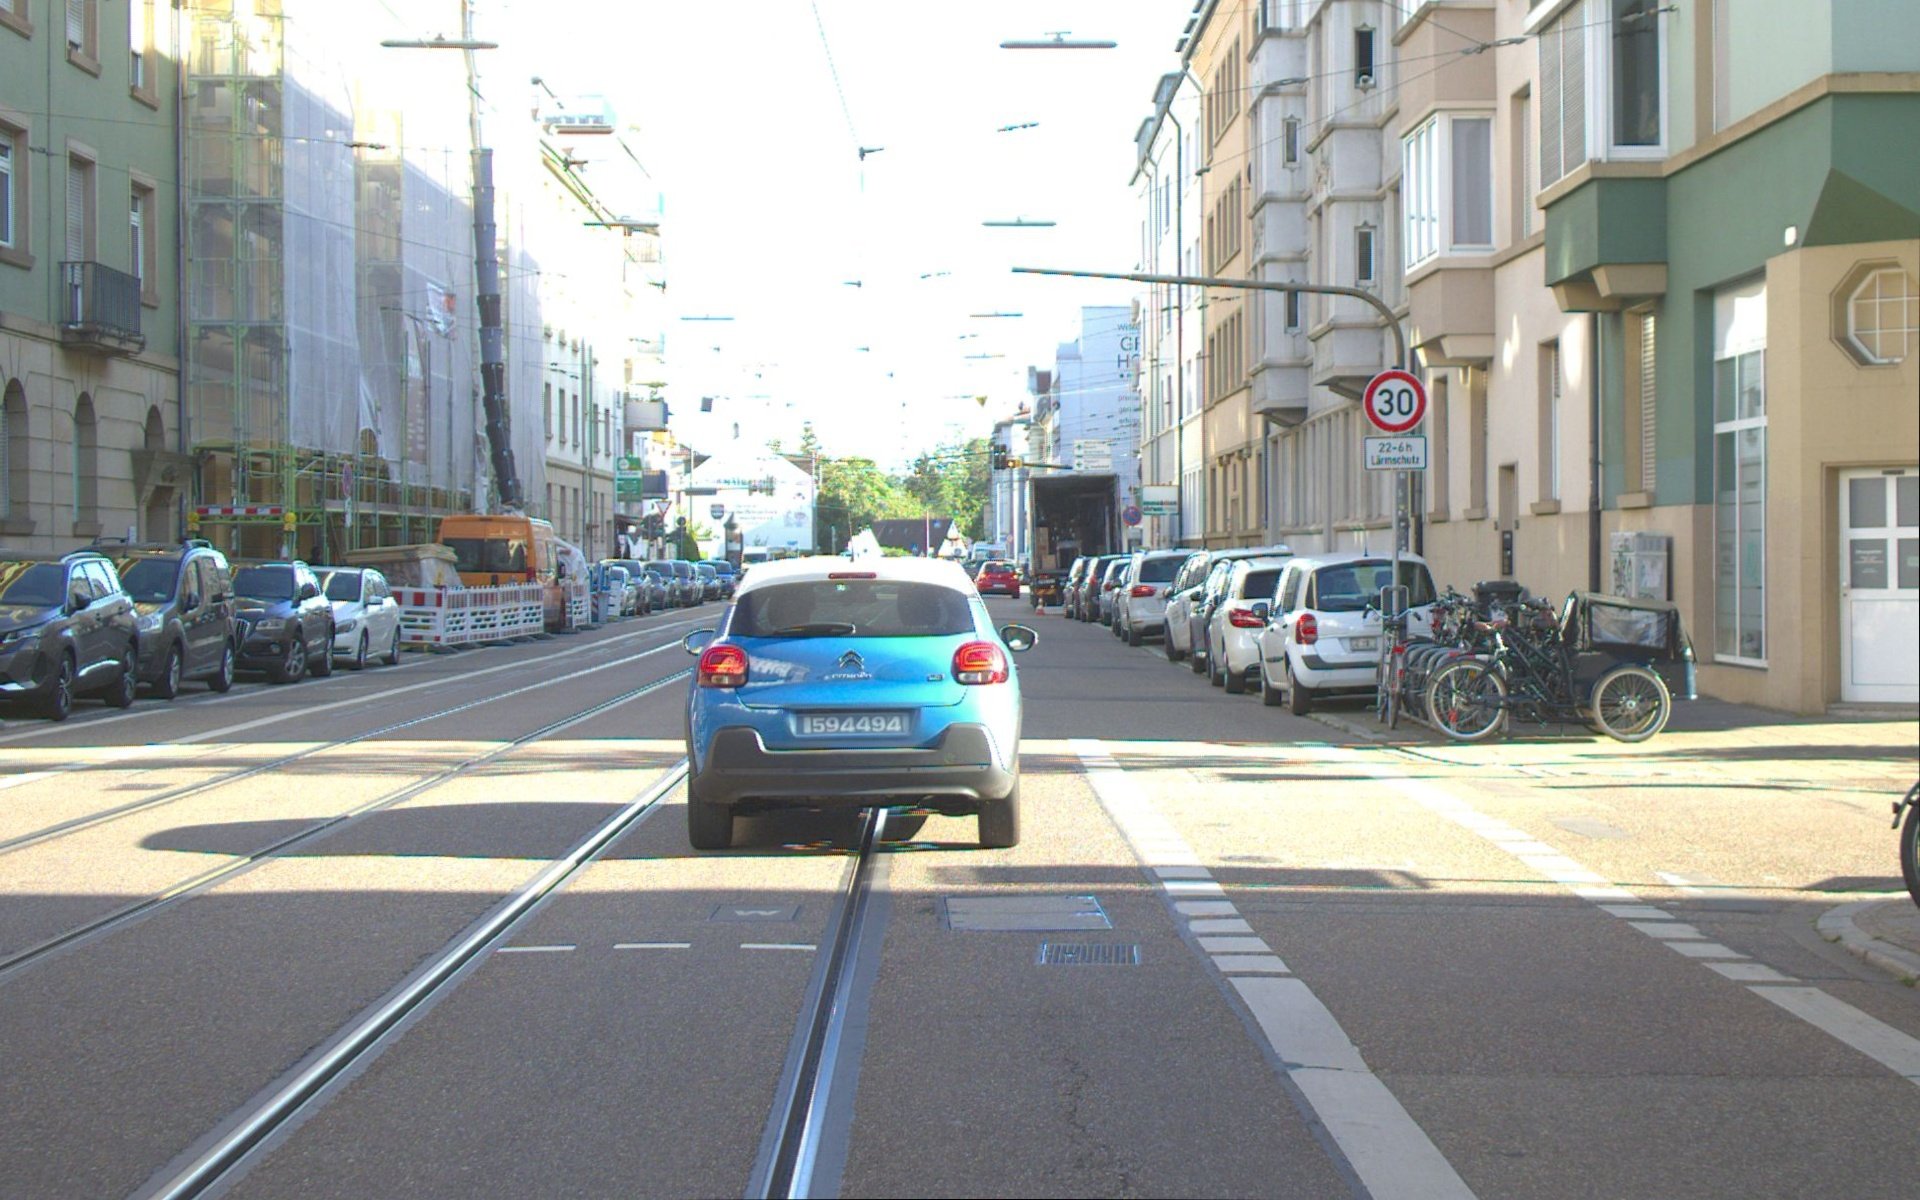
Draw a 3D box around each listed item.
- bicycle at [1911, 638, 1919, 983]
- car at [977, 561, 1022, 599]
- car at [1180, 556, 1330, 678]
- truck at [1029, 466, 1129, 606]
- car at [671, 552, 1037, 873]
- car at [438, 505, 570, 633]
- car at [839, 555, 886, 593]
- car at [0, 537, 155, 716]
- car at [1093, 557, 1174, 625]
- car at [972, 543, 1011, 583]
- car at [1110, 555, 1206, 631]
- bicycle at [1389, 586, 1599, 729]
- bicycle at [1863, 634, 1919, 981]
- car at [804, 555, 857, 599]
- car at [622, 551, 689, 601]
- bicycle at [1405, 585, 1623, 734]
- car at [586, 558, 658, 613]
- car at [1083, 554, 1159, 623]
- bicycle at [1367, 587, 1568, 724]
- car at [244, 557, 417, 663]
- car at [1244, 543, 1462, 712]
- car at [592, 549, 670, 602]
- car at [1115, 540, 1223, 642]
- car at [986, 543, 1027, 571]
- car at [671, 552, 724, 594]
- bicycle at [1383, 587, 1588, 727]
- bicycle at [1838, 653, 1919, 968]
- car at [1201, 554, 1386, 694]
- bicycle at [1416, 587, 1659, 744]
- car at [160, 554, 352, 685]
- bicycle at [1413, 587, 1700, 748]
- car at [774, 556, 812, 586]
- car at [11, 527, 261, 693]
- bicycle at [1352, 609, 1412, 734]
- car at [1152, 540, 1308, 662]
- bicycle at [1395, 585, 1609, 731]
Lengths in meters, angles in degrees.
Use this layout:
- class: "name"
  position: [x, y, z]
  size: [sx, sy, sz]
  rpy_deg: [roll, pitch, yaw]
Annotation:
- class: "bicycle"
  position: [4.376, 0.730, 11.974]
  size: [1.959, 1.223, 0.527]
  rpy_deg: [-1, 1, 0]
- class: "car"
  position: [1.578, -0.828, 139.427]
  size: [1.765, 1.481, 4.031]
  rpy_deg: [0, 1, 0]
- class: "car"
  position: [3.920, 0.189, 46.276]
  size: [1.655, 1.561, 4.338]
  rpy_deg: [0, 1, 0]
- class: "truck"
  position: [3.589, -1.952, 106.111]
  size: [2.853, 4.069, 11.271]
  rpy_deg: [0, 1, 1]
- class: "car"
  position: [-0.516, 0.521, 18.756]
  size: [1.735, 1.502, 3.992]
  rpy_deg: [2, 1, 0]
- class: "car"
  position: [-9.213, -0.656, 69.798]
  size: [2.144, 2.467, 4.981]
  rpy_deg: [-1, 1, -2]
- class: "car"
  position: [-4.186, -1.123, 147.905]
  size: [1.901, 1.626, 4.267]
  rpy_deg: [0, 1, 0]
- class: "car"
  position: [-9.675, 0.214, 35.447]
  size: [1.783, 1.684, 4.668]
  rpy_deg: [2, 1, -2]
- class: "car"
  position: [3.998, -0.224, 79.560]
  size: [1.664, 1.514, 4.222]
  rpy_deg: [0, 1, 0]
- class: "car"
  position: [1.822, -2.139, 198.567]
  size: [2.220, 2.276, 4.084]
  rpy_deg: [0, 1, 0]
- class: "car"
  position: [4.002, -0.161, 69.952]
  size: [1.722, 1.481, 4.222]
  rpy_deg: [0, 1, 0]
- class: "bicycle"
  position: [4.734, 0.506, 30.522]
  size: [1.722, 1.150, 0.469]
  rpy_deg: [-3, 1, 1]
- class: "bicycle"
  position: [4.355, 0.724, 12.535]
  size: [1.959, 1.223, 0.527]
  rpy_deg: [-1, 1, 0]
- class: "car"
  position: [-4.906, -0.870, 130.338]
  size: [1.826, 1.626, 4.490]
  rpy_deg: [0, 1, 0]
- class: "car"
  position: [-10.319, -0.826, 116.681]
  size: [1.826, 1.626, 4.849]
  rpy_deg: [0, 1, 0]
- class: "bicycle"
  position: [4.715, 0.506, 29.294]
  size: [1.722, 1.150, 0.469]
  rpy_deg: [-3, 1, 1]
- class: "car"
  position: [-10.107, -0.446, 102.974]
  size: [1.714, 1.588, 4.267]
  rpy_deg: [0, 1, 0]
- class: "car"
  position: [3.924, -0.306, 84.404]
  size: [1.664, 1.641, 4.222]
  rpy_deg: [0, 1, 0]
- class: "bicycle"
  position: [4.684, 0.509, 31.770]
  size: [1.722, 1.150, 0.469]
  rpy_deg: [-3, 1, 1]
- class: "car"
  position: [-9.624, 0.113, 52.834]
  size: [1.718, 1.497, 4.387]
  rpy_deg: [2, 1, 1]
- class: "car"
  position: [3.960, 0.242, 35.201]
  size: [1.783, 1.626, 4.000]
  rpy_deg: [0, 1, 0]
- class: "car"
  position: [-10.591, -0.808, 110.907]
  size: [2.144, 1.616, 4.000]
  rpy_deg: [-1, 1, -1]
- class: "car"
  position: [3.870, -0.185, 64.170]
  size: [1.730, 1.821, 4.686]
  rpy_deg: [0, 1, 0]
- class: "car"
  position: [2.489, -2.328, 185.073]
  size: [2.180, 1.481, 4.160]
  rpy_deg: [0, 1, 0]
- class: "car"
  position: [-10.428, -1.082, 136.754]
  size: [1.826, 1.626, 3.905]
  rpy_deg: [0, 1, 0]
- class: "bicycle"
  position: [4.751, 0.514, 31.143]
  size: [1.722, 1.150, 0.469]
  rpy_deg: [-3, 1, 1]
- class: "bicycle"
  position: [4.390, 0.774, 13.115]
  size: [1.923, 1.157, 0.527]
  rpy_deg: [-1, 1, 0]
- class: "car"
  position: [3.900, 0.243, 40.802]
  size: [1.783, 1.570, 4.326]
  rpy_deg: [0, 1, 0]
- class: "bicycle"
  position: [4.703, 0.530, 28.057]
  size: [1.843, 1.150, 0.469]
  rpy_deg: [-3, 1, 1]
- class: "car"
  position: [-9.504, 0.226, 46.742]
  size: [1.783, 1.621, 4.609]
  rpy_deg: [2, 1, -2]
- class: "bicycle"
  position: [4.727, 0.528, 27.348]
  size: [2.086, 1.150, 0.848]
  rpy_deg: [-3, 1, 1]
- class: "car"
  position: [-9.344, -1.636, 192.940]
  size: [1.901, 1.626, 4.267]
  rpy_deg: [0, 1, 0]
- class: "car"
  position: [-9.712, 0.076, 40.853]
  size: [1.783, 1.810, 4.528]
  rpy_deg: [2, 1, 1]
- class: "bicycle"
  position: [3.716, 0.615, 30.328]
  size: [0.353, 1.041, 1.728]
  rpy_deg: [0, 1, 1]
- class: "car"
  position: [4.033, -0.016, 52.028]
  size: [1.654, 1.746, 4.604]
  rpy_deg: [0, 1, -4]
- class: "bicycle"
  position: [4.696, 0.497, 29.842]
  size: [1.722, 1.150, 0.469]
  rpy_deg: [-3, 1, 1]
